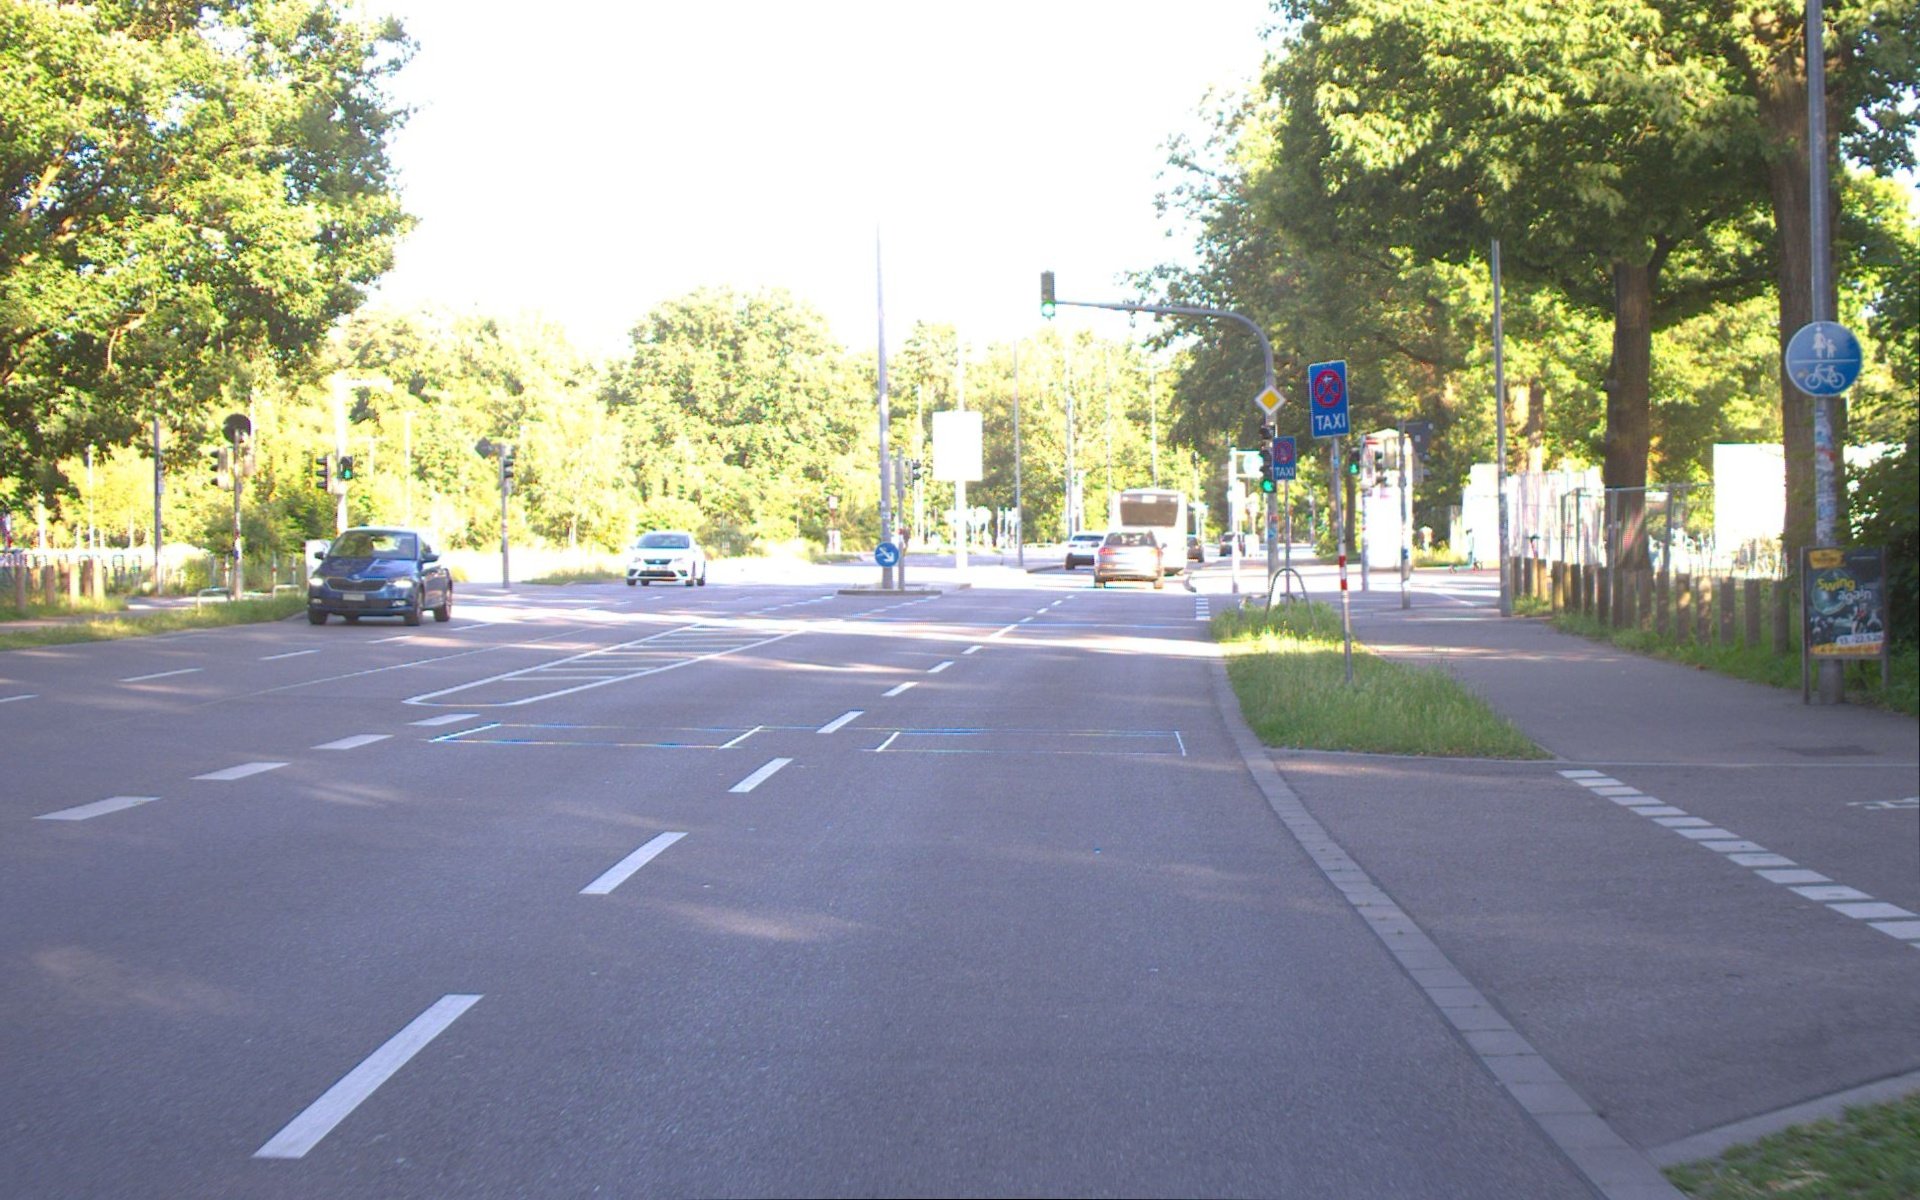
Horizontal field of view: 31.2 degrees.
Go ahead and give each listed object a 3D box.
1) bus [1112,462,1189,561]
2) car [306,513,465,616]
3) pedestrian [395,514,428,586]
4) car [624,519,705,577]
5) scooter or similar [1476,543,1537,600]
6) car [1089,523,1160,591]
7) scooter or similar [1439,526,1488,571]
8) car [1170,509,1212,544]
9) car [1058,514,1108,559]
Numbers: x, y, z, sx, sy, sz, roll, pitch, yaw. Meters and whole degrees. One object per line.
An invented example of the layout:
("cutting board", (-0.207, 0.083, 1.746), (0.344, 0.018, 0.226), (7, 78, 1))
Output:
("bus", (6.731, -3.131, 121.274), (2.605, 3.357, 7.975), (0, 2, 3))
("car", (-8.803, -0.575, 52.928), (1.655, 1.503, 4.000), (-1, 1, 2))
("pedestrian", (-14.752, -1.349, 92.470), (0.612, 1.903, 1.106), (-1, 1, 3))
("car", (-7.743, -1.385, 90.321), (1.710, 1.459, 4.101), (1, 1, 1))
("scooter or similar", (12.899, -0.677, 81.138), (1.357, 1.283, 0.604), (-1, 6, -39))
("car", (4.500, -1.201, 93.640), (1.880, 1.759, 4.000), (-1, 2, 3))
("scooter or similar", (14.056, -1.441, 95.961), (0.569, 1.252, 1.596), (0, 1, 42))
("car", (11.732, -3.741, 174.724), (1.863, 1.678, 3.772), (-1, 1, 7))
("car", (5.006, -2.589, 139.614), (1.880, 1.759, 4.000), (-1, 2, 3))
